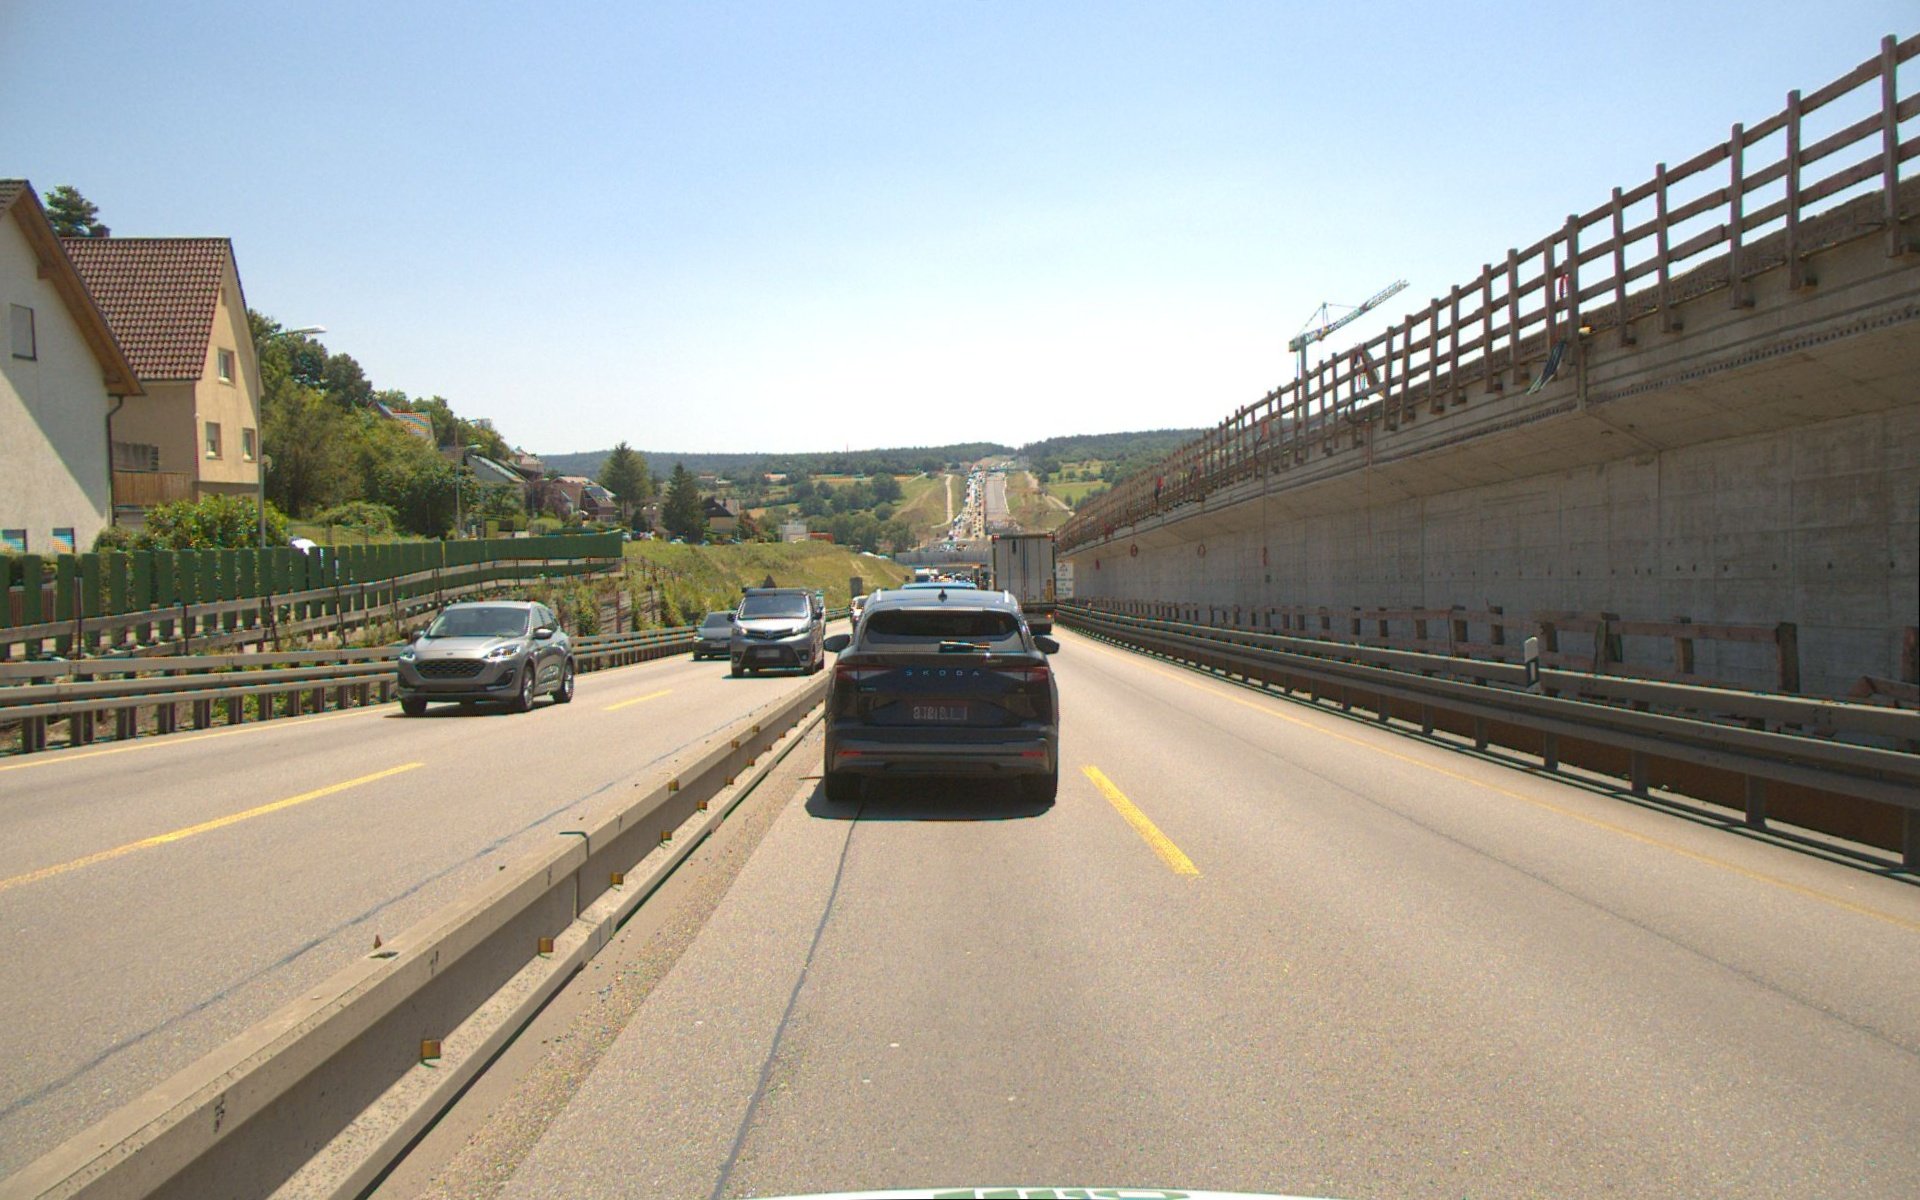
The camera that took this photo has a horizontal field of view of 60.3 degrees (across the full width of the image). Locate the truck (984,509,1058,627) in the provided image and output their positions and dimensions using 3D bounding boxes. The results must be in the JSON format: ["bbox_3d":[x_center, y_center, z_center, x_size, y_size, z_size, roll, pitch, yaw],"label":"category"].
[{"bbox_3d":[2.542,-1.224,72.453,2.787,4.696,11.811,-1,-1,1],"label":"truck"}]

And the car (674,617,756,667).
[{"bbox_3d":[-7.602,1.286,51.664,1.953,1.467,4.362,1,-1,-1],"label":"car"}]

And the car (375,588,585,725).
[{"bbox_3d":[-7.224,0.817,25.391,1.953,1.859,4.507,-1,-1,-1],"label":"car"}]

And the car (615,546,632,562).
[{"bbox_3d":[-41.514,-5.654,204.377,1.890,1.758,3.990,-2,0,-10],"label":"car"}]

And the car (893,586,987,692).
[{"bbox_3d":[-0.435,0.726,32.121,1.714,1.928,3.753,0,0,-2],"label":"car"}]

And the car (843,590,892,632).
[{"bbox_3d":[-4.489,0.557,80.936,2.113,1.939,5.325,0,-1,-1],"label":"car"}]

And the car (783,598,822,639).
[{"bbox_3d":[-7.765,0.901,82.032,1.789,1.959,5.238,0,0,-4],"label":"car"}]

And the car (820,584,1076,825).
[{"bbox_3d":[-0.112,0.737,13.494,1.746,1.625,3.754,-2,0,-1],"label":"car"}]

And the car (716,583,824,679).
[{"bbox_3d":[-4.360,0.703,38.641,1.953,2.049,4.968,-1,-1,-1],"label":"car"}]

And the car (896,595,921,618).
[{"bbox_3d":[-3.840,0.475,123.037,1.738,1.662,4.099,-1,0,-1],"label":"car"}]
